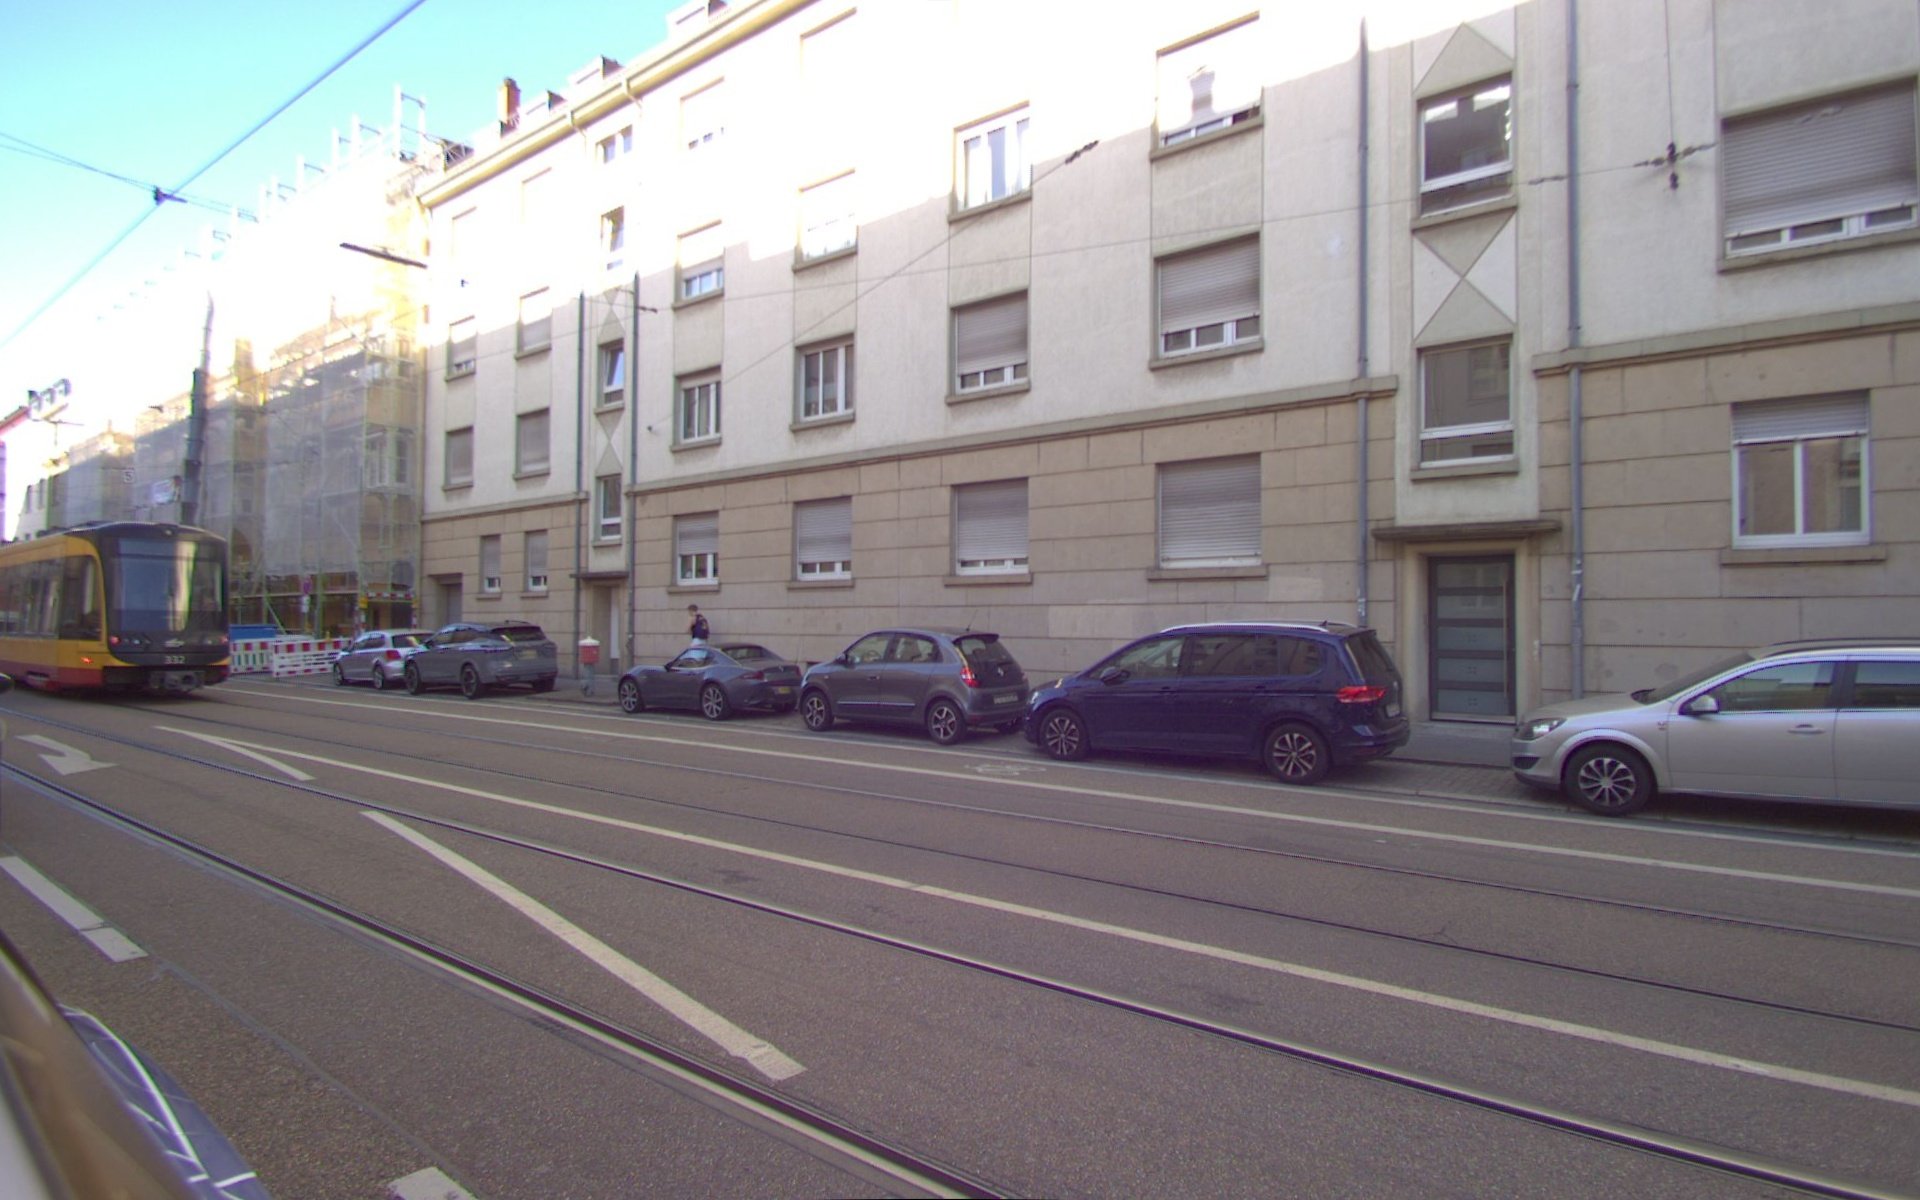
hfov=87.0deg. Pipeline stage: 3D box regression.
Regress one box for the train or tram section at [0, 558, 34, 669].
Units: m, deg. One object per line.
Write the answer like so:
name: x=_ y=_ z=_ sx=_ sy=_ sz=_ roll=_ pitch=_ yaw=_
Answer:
train or tram section: x=-36.869 y=0.495 z=36.474 sx=12.613 sy=3.621 sz=3.032 roll=-1 pitch=-3 yaw=38

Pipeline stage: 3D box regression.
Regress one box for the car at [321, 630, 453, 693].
car: x=-14.458 y=1.487 z=25.487 sx=3.639 sy=1.402 sz=1.617 roll=-1 pitch=0 yaw=37

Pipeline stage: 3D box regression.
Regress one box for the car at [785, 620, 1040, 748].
car: x=-0.746 y=1.113 z=14.711 sx=3.493 sy=1.584 sz=1.650 roll=-1 pitch=0 yaw=38

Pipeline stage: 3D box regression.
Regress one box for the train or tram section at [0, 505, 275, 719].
train or tram section: x=-19.615 y=0.262 z=22.800 sx=14.245 sy=3.659 sz=2.718 roll=-1 pitch=0 yaw=38

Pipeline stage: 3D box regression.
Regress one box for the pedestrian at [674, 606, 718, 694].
pedestrian: x=-5.698 y=1.061 z=21.829 sx=0.733 sy=1.846 sz=0.592 roll=-1 pitch=0 yaw=40

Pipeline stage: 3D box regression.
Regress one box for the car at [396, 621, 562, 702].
car: x=-10.818 y=1.305 z=22.655 sx=4.108 sy=1.603 sz=1.691 roll=-1 pitch=0 yaw=38

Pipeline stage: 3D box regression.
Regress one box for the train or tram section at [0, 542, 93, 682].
train or tram section: x=-28.384 y=0.375 z=29.683 sx=9.072 sy=3.658 sz=2.798 roll=-1 pitch=0 yaw=38

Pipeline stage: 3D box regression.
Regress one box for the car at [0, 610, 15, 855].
car: x=-7.988 y=0.840 z=6.977 sx=3.997 sy=1.515 sz=1.670 roll=-1 pitch=-3 yaw=40

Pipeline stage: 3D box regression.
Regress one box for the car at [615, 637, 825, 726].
car: x=-4.192 y=1.338 z=17.543 sx=3.483 sy=1.286 sz=1.730 roll=-1 pitch=0 yaw=37

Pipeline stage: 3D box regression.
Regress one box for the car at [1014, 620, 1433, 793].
car: x=2.924 y=1.051 z=11.660 sx=4.285 sy=1.597 sz=1.887 roll=-1 pitch=0 yaw=37

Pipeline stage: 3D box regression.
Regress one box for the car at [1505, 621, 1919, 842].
car: x=7.215 y=0.988 z=8.537 sx=4.358 sy=1.571 sz=1.975 roll=-1 pitch=0 yaw=38
